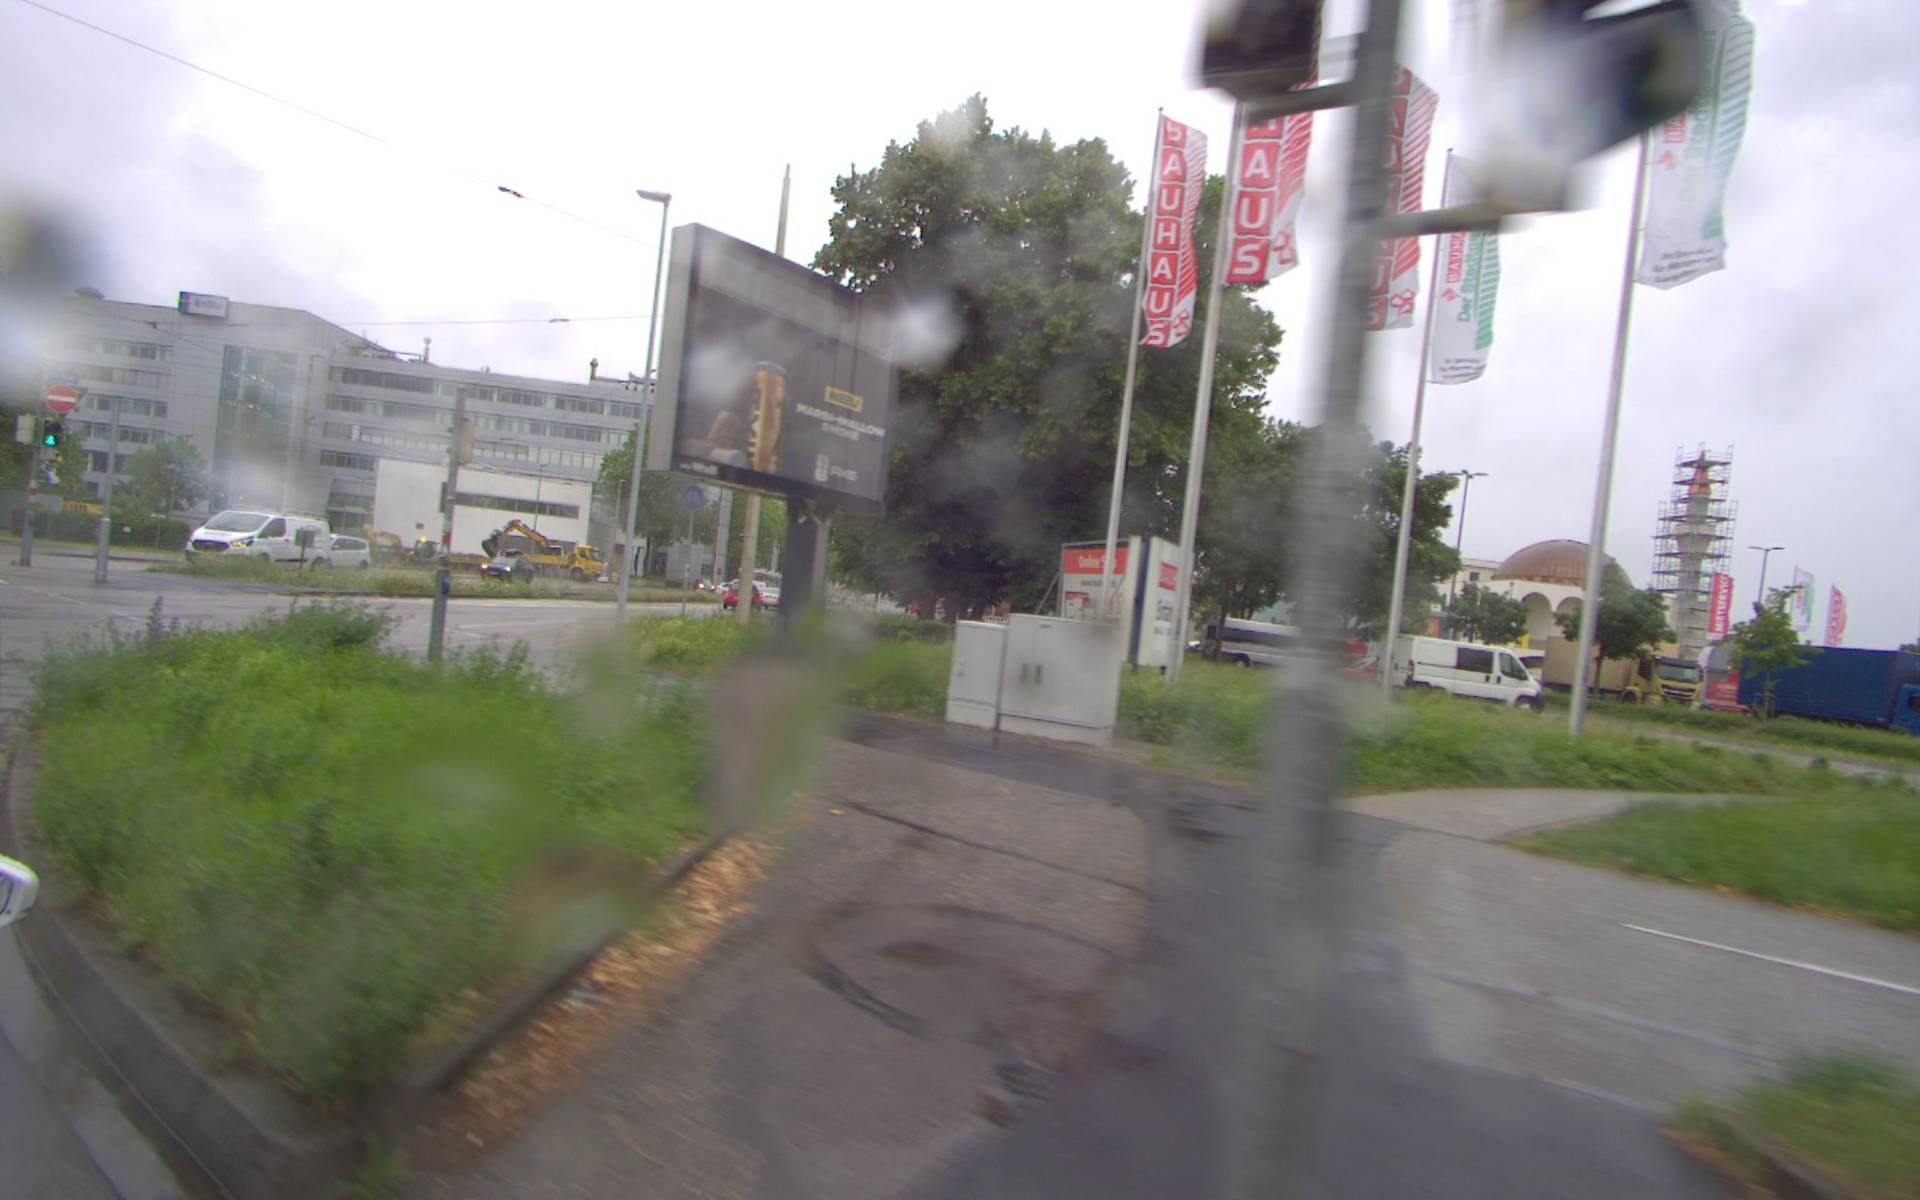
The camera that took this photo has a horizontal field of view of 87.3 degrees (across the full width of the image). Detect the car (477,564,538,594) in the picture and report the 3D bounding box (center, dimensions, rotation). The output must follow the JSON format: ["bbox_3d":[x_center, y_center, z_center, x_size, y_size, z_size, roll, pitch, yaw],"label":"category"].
[{"bbox_3d":[-27.917,-1.279,62.211,1.767,1.543,4.643,6,-1,-4],"label":"car"}]

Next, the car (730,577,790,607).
[{"bbox_3d":[-18.949,-0.723,95.473,5.274,2.036,1.998,7,-2,-9],"label":"car"}]

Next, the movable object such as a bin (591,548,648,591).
[{"bbox_3d":[-33.090,-2.905,97.932,3.267,3.551,6.319,6,0,-2],"label":"movable object such as a bin"}]

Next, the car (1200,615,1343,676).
[{"bbox_3d":[14.841,2.145,48.141,5.953,2.232,2.191,6,0,-1],"label":"car"}]

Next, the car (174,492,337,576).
[{"bbox_3d":[-22.383,-2.009,32.222,1.964,2.151,4.687,6,-1,-4],"label":"car"}]

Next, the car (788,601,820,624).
[{"bbox_3d":[-12.518,0.985,81.112,1.892,1.606,4.624,6,0,-2],"label":"car"}]

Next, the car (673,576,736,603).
[{"bbox_3d":[-22.947,-0.942,90.416,4.965,1.673,1.883,7,-2,2],"label":"car"}]

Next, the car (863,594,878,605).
[{"bbox_3d":[-13.913,-0.077,156.358,1.891,1.509,4.830,6,-1,0],"label":"car"}]

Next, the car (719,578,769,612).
[{"bbox_3d":[-11.945,-0.241,55.841,1.647,1.508,3.819,7,-2,2],"label":"car"}]

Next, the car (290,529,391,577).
[{"bbox_3d":[-26.152,-1.928,42.641,1.744,1.641,4.379,6,0,-5],"label":"car"}]

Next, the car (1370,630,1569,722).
[{"bbox_3d":[15.850,2.350,31.420,5.013,2.231,2.189,6,0,-7],"label":"car"}]

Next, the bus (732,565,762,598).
[{"bbox_3d":[-22.638,-1.930,107.264,2.485,3.074,8.516,6,0,-9],"label":"bus"}]

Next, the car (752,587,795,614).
[{"bbox_3d":[-12.418,0.076,67.307,1.891,1.509,4.830,6,-1,0],"label":"car"}]

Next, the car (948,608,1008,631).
[{"bbox_3d":[1.819,1.945,101.926,5.852,1.753,2.277,6,0,-2],"label":"car"}]

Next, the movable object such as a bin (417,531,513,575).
[{"bbox_3d":[-43.717,-4.144,89.061,6.599,3.033,3.326,6,0,-3],"label":"movable object such as a bin"}]

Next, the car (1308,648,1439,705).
[{"bbox_3d":[15.295,2.816,37.326,3.930,1.616,1.997,6,0,-8],"label":"car"}]

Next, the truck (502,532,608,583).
[{"bbox_3d":[-35.794,-3.737,89.185,7.745,3.551,3.326,6,0,-2],"label":"truck"}]

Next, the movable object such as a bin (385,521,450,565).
[{"bbox_3d":[-43.423,-4.541,80.622,3.270,3.033,3.326,6,0,-3],"label":"movable object such as a bin"}]

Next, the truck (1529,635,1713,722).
[{"bbox_3d":[32.645,3.721,50.305,2.506,3.511,9.402,7,-1,-1],"label":"truck"}]

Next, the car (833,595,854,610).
[{"bbox_3d":[-14.256,0.328,123.253,1.891,1.509,4.830,6,-1,0],"label":"car"}]

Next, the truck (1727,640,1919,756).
[{"bbox_3d":[32.447,3.493,36.430,2.507,3.512,8.012,7,0,-3],"label":"truck"}]
